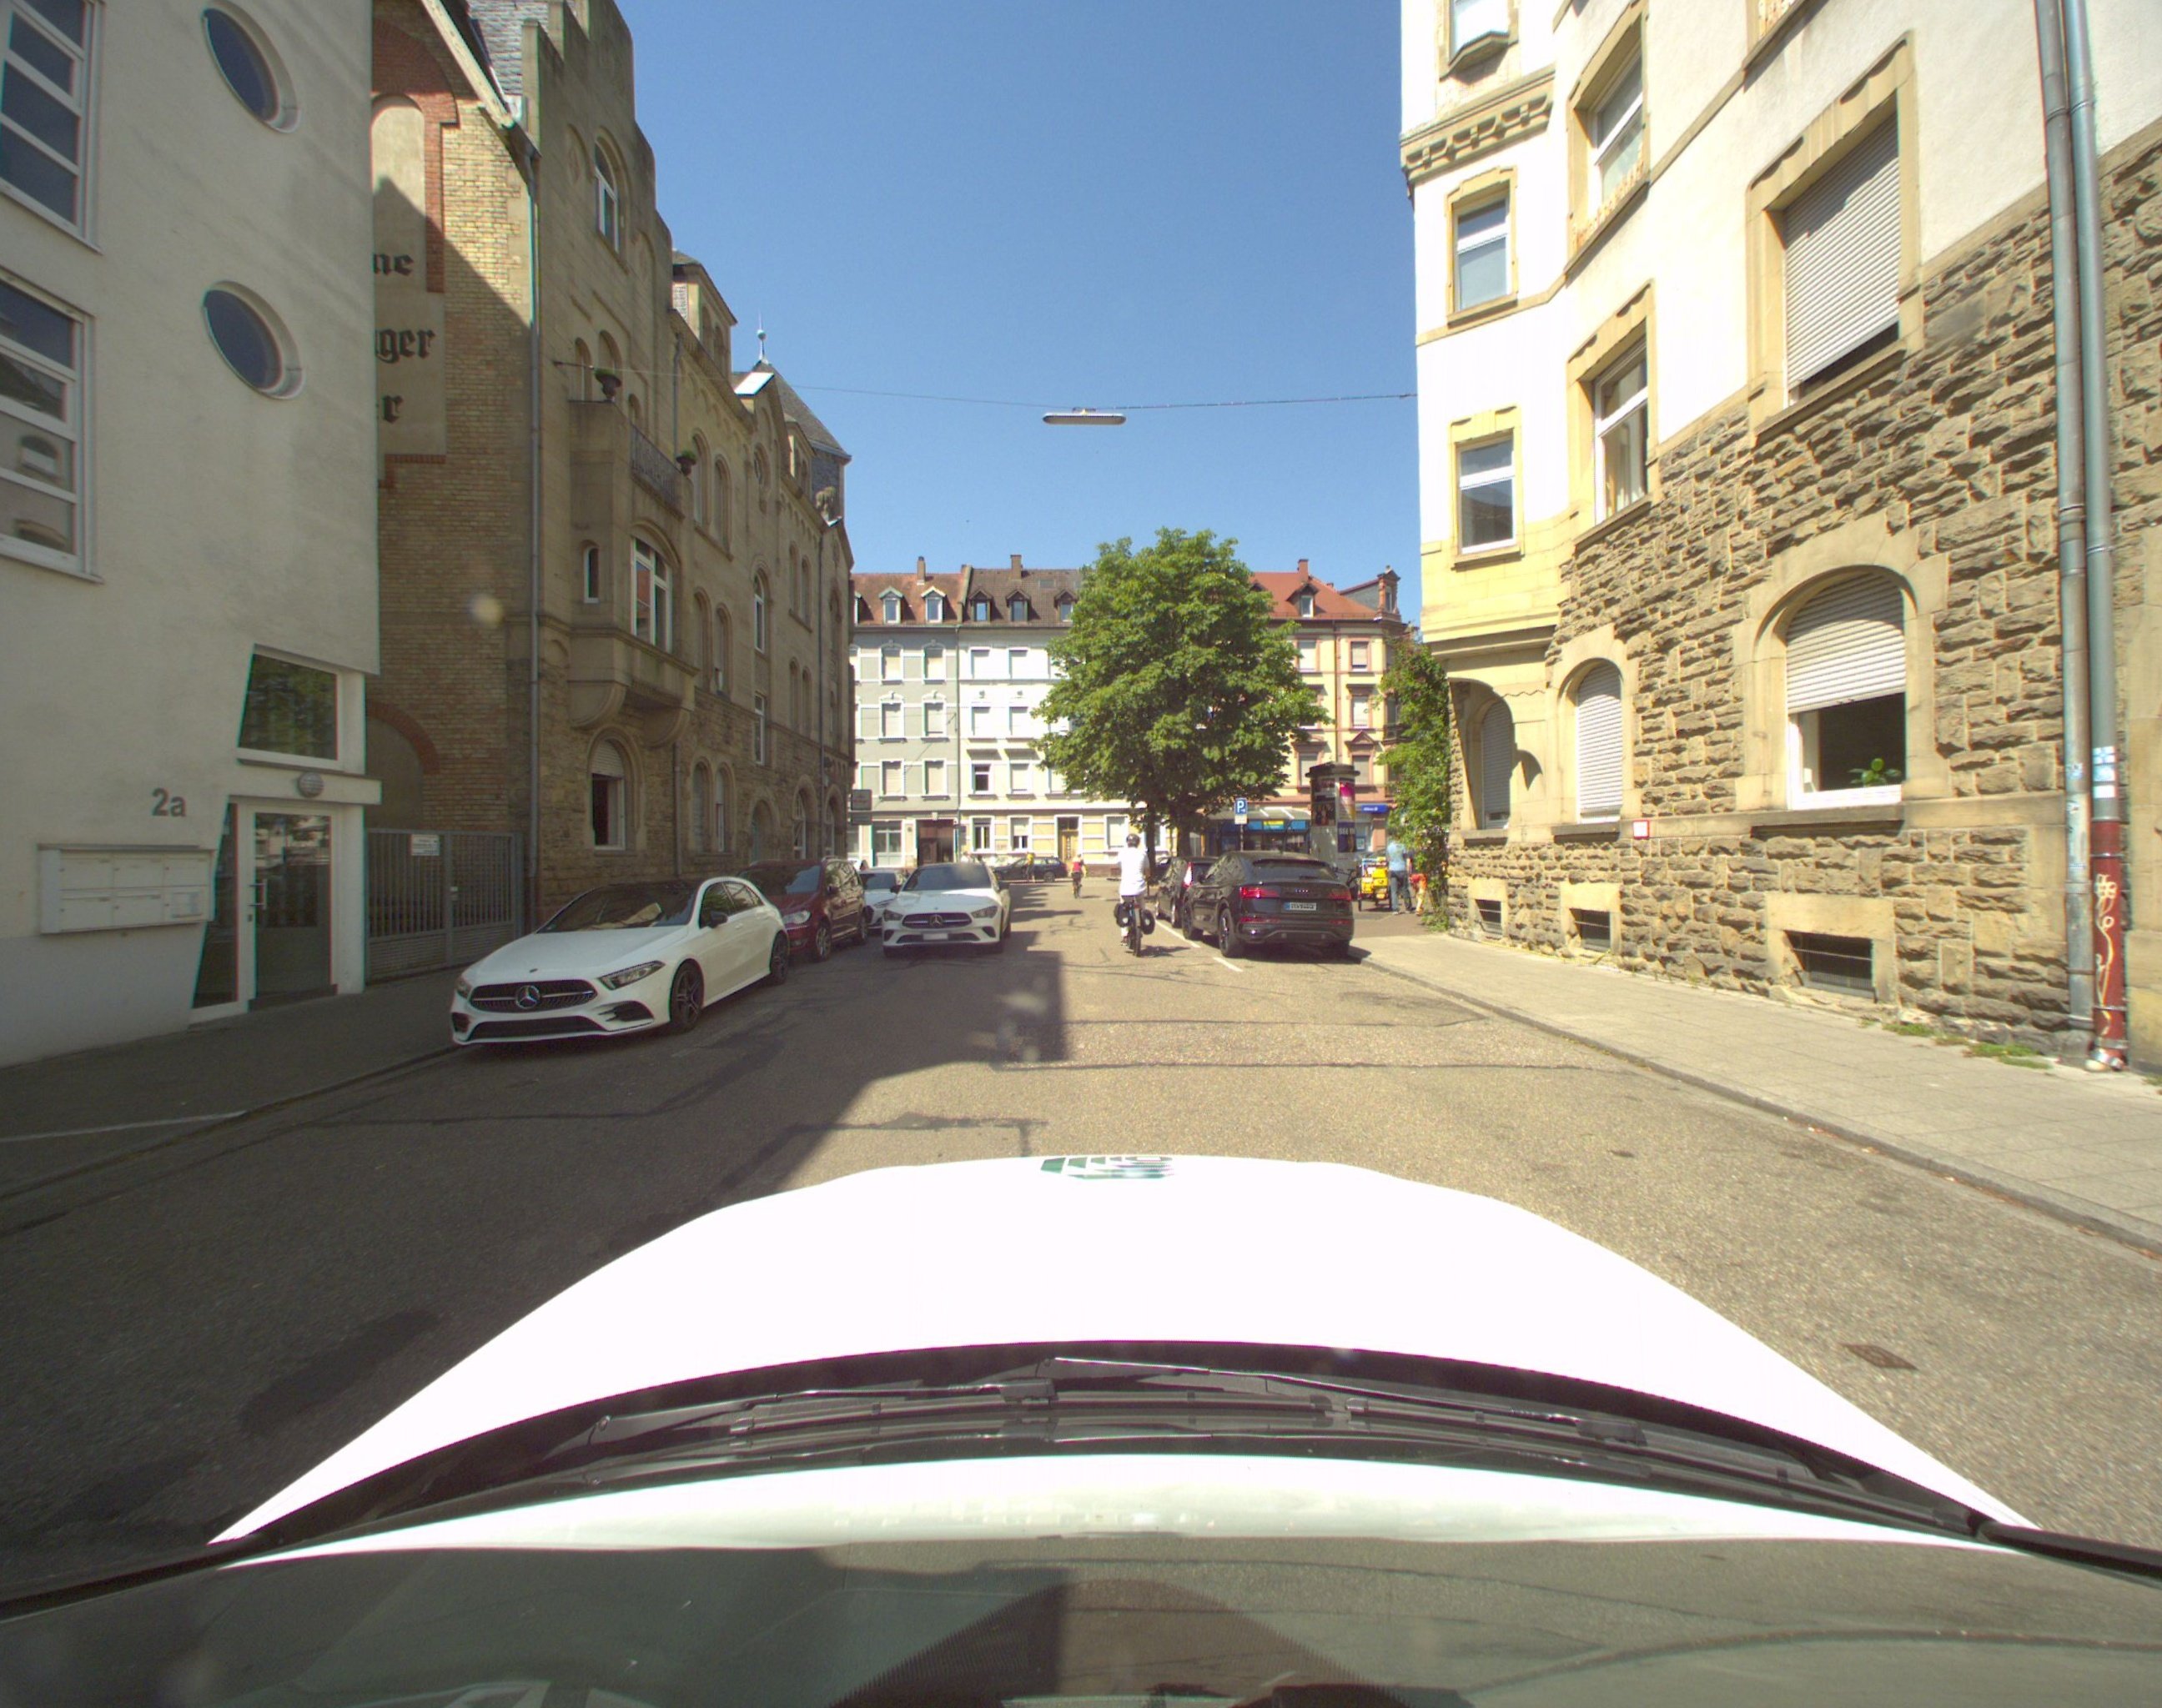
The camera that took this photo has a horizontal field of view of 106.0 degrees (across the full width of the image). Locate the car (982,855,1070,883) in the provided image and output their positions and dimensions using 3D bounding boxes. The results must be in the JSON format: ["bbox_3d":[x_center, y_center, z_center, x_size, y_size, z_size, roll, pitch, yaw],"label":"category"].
[{"bbox_3d":[-3.092,0.849,46.550,4.847,1.437,1.998,-2,0,-2],"label":"car"}]

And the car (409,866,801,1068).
[{"bbox_3d":[-4.528,0.925,8.652,1.773,1.460,4.273,-3,0,-4],"label":"car"}]

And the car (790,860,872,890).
[{"bbox_3d":[-14.114,1.155,46.170,4.038,1.562,1.805,-2,0,-4],"label":"car"}]

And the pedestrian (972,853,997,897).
[{"bbox_3d":[-3.787,0.800,31.869,0.855,1.672,0.773,-1,0,-2],"label":"pedestrian"}]

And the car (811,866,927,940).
[{"bbox_3d":[-4.696,1.012,18.670,1.698,1.352,4.509,-3,0,-4],"label":"car"}]

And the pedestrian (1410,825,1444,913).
[{"bbox_3d":[7.627,0.322,17.980,0.594,1.880,0.887,-1,-1,18],"label":"pedestrian"}]

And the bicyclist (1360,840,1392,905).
[{"bbox_3d":[7.593,0.476,20.954,0.671,1.647,0.666,-2,-1,26],"label":"bicyclist"}]

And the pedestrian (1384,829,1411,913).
[{"bbox_3d":[7.137,0.375,18.389,0.514,1.869,0.657,-1,-1,19],"label":"pedestrian"}]

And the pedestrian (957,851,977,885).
[{"bbox_3d":[-6.426,0.790,45.823,0.845,1.889,0.937,-2,0,9],"label":"pedestrian"}]

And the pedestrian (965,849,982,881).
[{"bbox_3d":[-6.159,0.647,46.795,0.900,1.814,0.958,-1,0,-7],"label":"pedestrian"}]

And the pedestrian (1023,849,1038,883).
[{"bbox_3d":[-2.819,0.677,45.246,0.725,1.853,0.682,-1,0,-11],"label":"pedestrian"}]

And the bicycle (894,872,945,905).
[{"bbox_3d":[-5.068,1.080,25.581,1.523,1.008,0.366,1,-1,-6],"label":"bicycle"}]

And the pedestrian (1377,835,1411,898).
[{"bbox_3d":[9.102,0.351,23.684,0.753,1.794,0.576,-1,-1,-40],"label":"pedestrian"}]

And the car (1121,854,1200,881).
[{"bbox_3d":[4.528,0.763,46.762,4.283,1.370,1.806,-2,2,-2],"label":"car"}]

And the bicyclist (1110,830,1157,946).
[{"bbox_3d":[0.807,0.526,12.722,0.668,1.760,0.609,1,-1,-1],"label":"bicyclist"}]

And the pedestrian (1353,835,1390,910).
[{"bbox_3d":[6.877,0.431,19.284,0.636,1.752,0.614,-1,0,1],"label":"pedestrian"}]

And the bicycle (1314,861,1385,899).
[{"bbox_3d":[7.957,0.770,24.187,1.895,1.039,0.633,-2,0,-2],"label":"bicycle"}]

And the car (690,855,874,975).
[{"bbox_3d":[-4.707,0.865,13.459,1.669,1.583,4.048,-3,0,-3],"label":"car"}]

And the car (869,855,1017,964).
[{"bbox_3d":[-2.152,0.803,13.924,1.836,1.461,4.359,-3,0,-2],"label":"car"}]

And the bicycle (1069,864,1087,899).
[{"bbox_3d":[-0.111,0.993,30.191,0.650,1.209,2.441,1,0,0],"label":"bicycle"}]

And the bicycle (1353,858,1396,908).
[{"bbox_3d":[7.551,0.719,20.905,0.786,1.169,2.593,-2,0,25],"label":"bicycle"}]

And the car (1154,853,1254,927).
[{"bbox_3d":[2.804,0.777,19.409,1.658,1.540,4.175,1,0,-1],"label":"car"}]

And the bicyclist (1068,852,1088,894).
[{"bbox_3d":[-0.109,0.692,30.230,0.668,1.533,0.609,-1,0,-1],"label":"bicyclist"}]

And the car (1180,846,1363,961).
[{"bbox_3d":[2.957,0.707,13.647,1.733,1.597,4.341,1,0,-5],"label":"car"}]

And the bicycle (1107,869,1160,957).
[{"bbox_3d":[0.801,0.874,12.983,0.650,1.228,2.440,1,0,-1],"label":"bicycle"}]
